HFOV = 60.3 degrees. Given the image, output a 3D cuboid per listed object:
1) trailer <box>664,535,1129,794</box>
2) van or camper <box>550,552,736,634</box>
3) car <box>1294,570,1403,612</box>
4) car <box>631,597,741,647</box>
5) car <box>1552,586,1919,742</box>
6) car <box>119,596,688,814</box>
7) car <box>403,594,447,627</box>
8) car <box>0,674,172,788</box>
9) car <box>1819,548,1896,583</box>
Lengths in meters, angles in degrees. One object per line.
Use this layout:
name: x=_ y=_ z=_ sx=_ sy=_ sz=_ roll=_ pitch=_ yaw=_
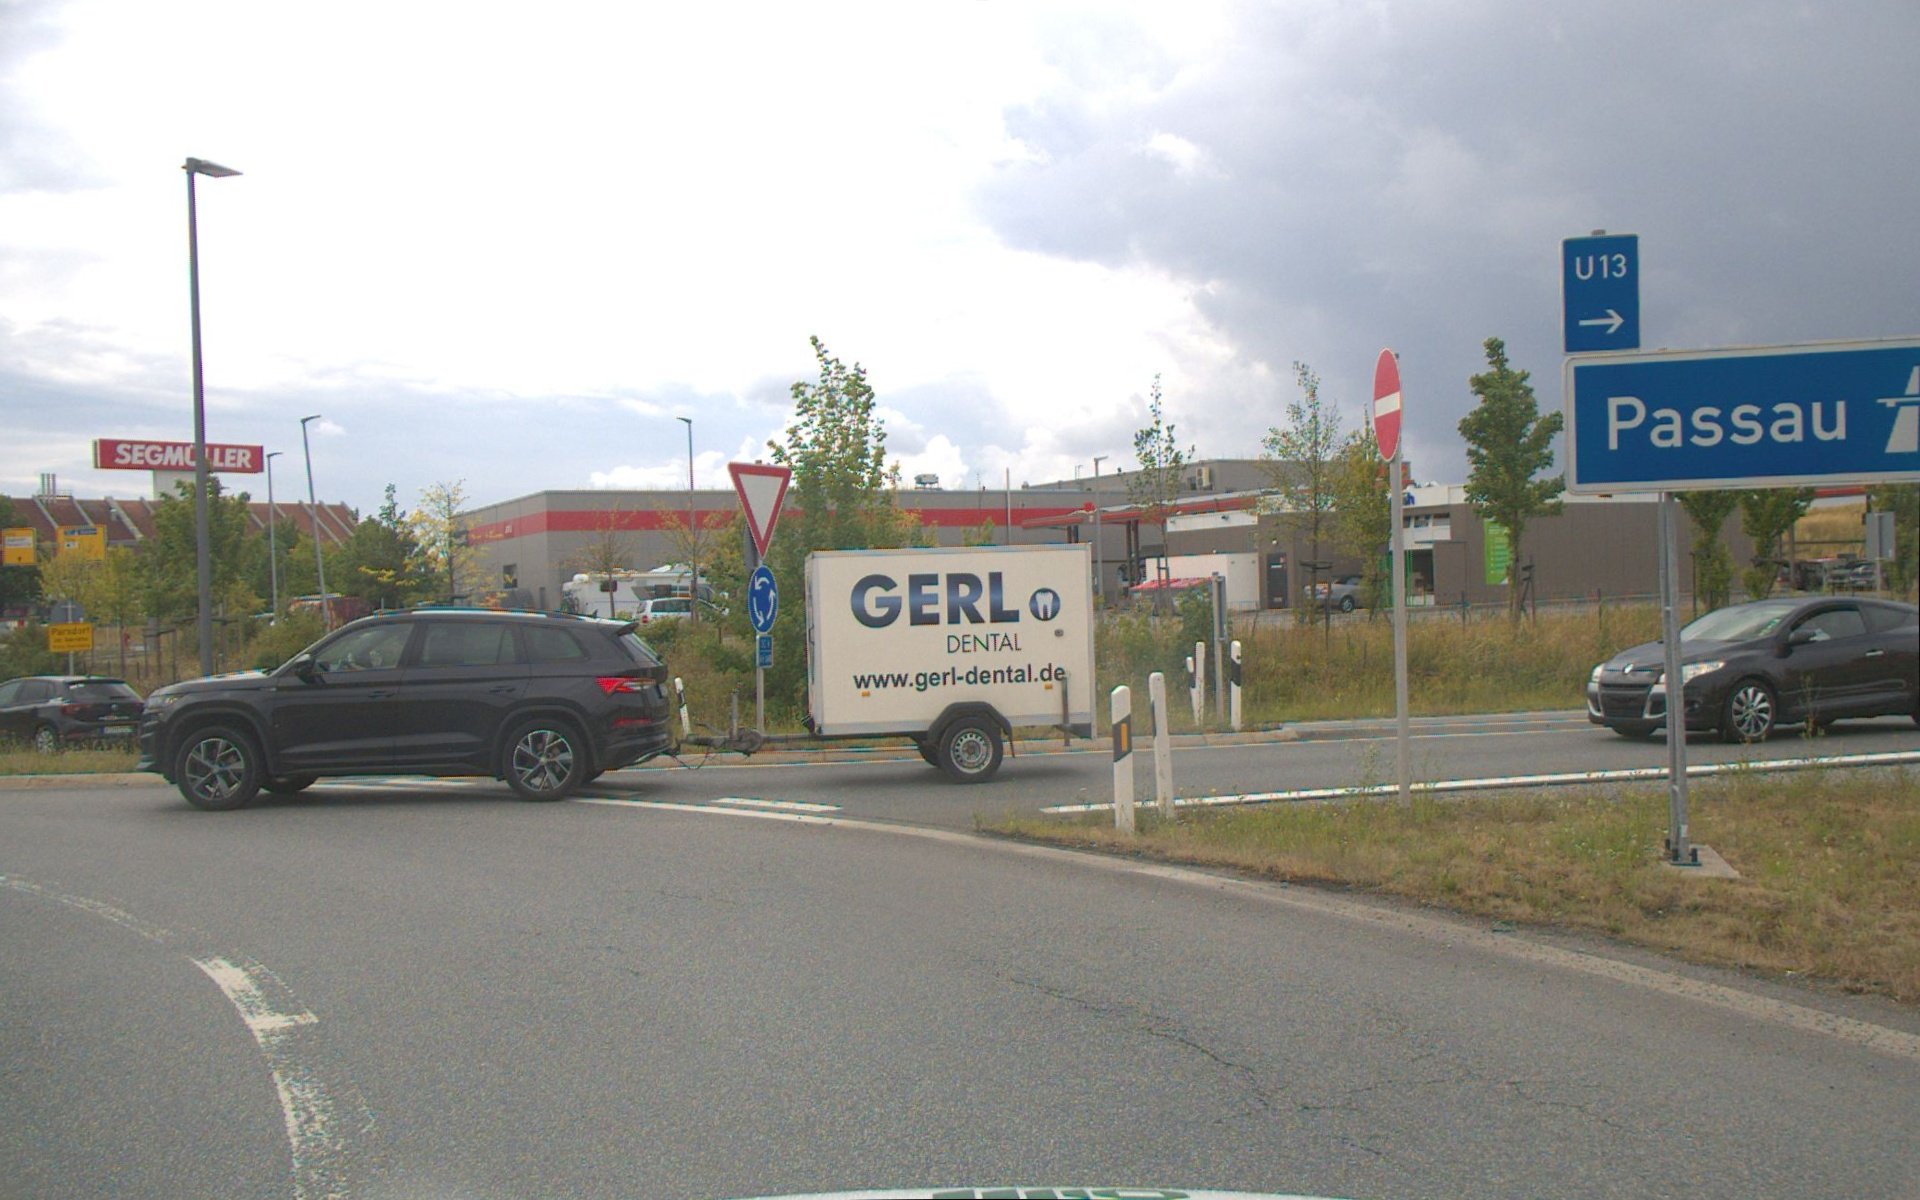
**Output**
trailer: x=-0.648 y=0.550 z=15.433 sx=4.056 sy=2.128 sz=1.808 roll=-2 pitch=-1 yaw=-9
van or camper: x=-13.986 y=-0.357 z=73.213 sx=7.637 sy=3.234 sz=2.466 roll=-3 pitch=1 yaw=-31
car: x=14.628 y=-0.337 z=62.236 sx=3.947 sy=1.456 sz=1.652 roll=-1 pitch=-1 yaw=-32
car: x=-11.114 y=0.876 z=67.076 sx=4.000 sy=1.750 sz=1.765 roll=-3 pitch=1 yaw=-26
car: x=8.491 y=0.618 z=17.330 sx=4.071 sy=1.394 sz=1.832 roll=-2 pitch=-1 yaw=-21
car: x=-4.843 y=0.887 z=14.947 sx=4.510 sy=1.699 sz=1.815 roll=-2 pitch=0 yaw=-4
car: x=-33.212 y=0.676 z=102.625 sx=1.682 sy=1.842 sz=3.931 roll=-5 pitch=2 yaw=-29
car: x=-15.673 y=2.201 z=28.567 sx=3.651 sy=1.632 sz=1.873 roll=-1 pitch=3 yaw=29
car: x=43.814 y=-1.710 z=80.753 sx=3.618 sy=1.565 sz=1.778 roll=-2 pitch=-1 yaw=-34
